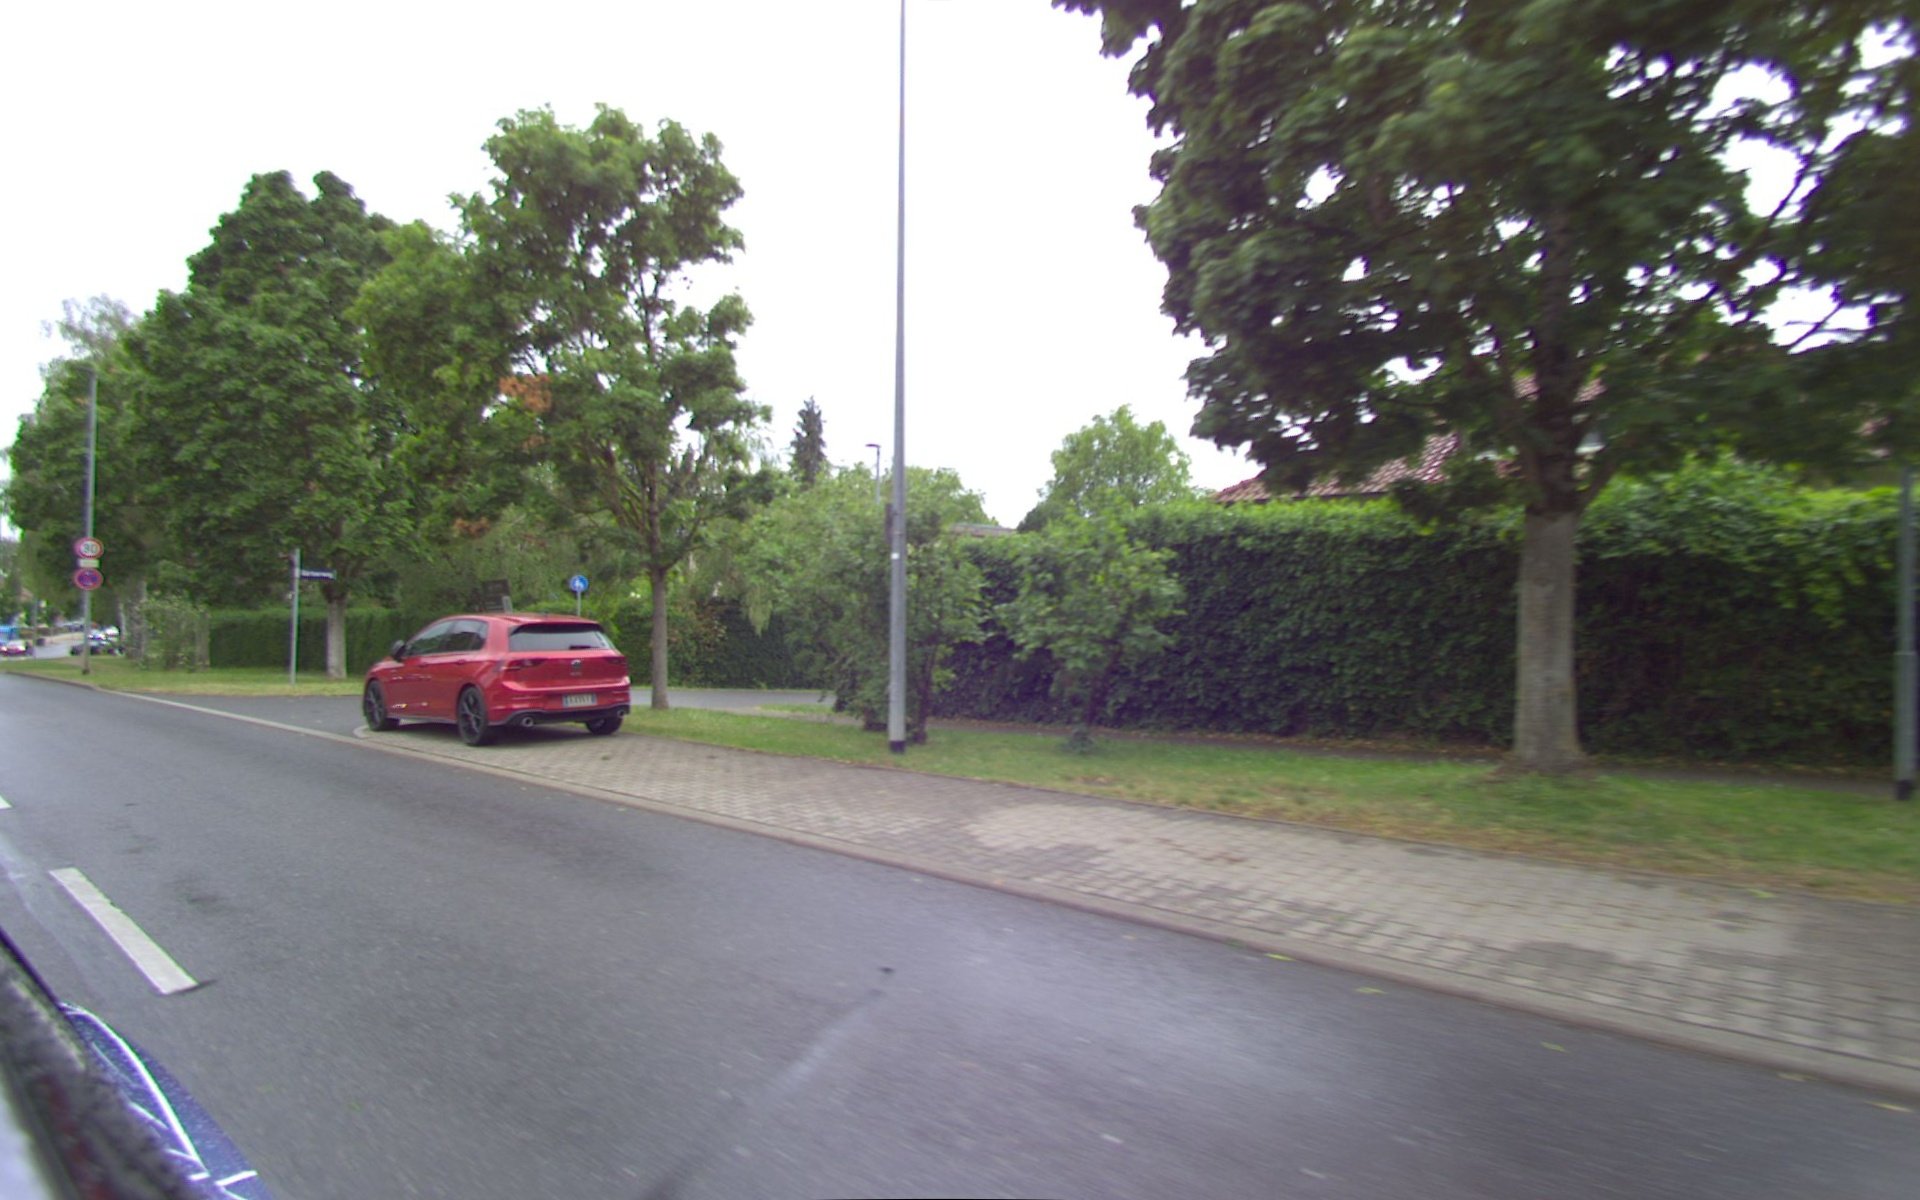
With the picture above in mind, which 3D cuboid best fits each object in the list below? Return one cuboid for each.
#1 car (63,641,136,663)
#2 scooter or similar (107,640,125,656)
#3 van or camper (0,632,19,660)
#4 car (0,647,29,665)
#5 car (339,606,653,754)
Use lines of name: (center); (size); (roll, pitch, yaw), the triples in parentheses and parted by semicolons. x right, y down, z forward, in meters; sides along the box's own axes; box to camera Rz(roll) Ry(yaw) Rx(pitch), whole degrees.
car: (-70.592, 4.235, 83.087); (4.368, 1.428, 1.760); (-3, 0, -34)
scooter or similar: (-62.761, 3.567, 75.231); (0.418, 1.167, 1.494); (-2, -2, -14)
van or camper: (-96.001, 4.580, 100.889); (2.114, 2.628, 5.798); (3, -2, -33)
car: (-88.168, 5.186, 93.913); (1.865, 1.552, 4.011); (-1, -1, -32)
car: (-5.702, 0.863, 12.207); (4.246, 1.477, 1.824); (-2, -2, 40)
